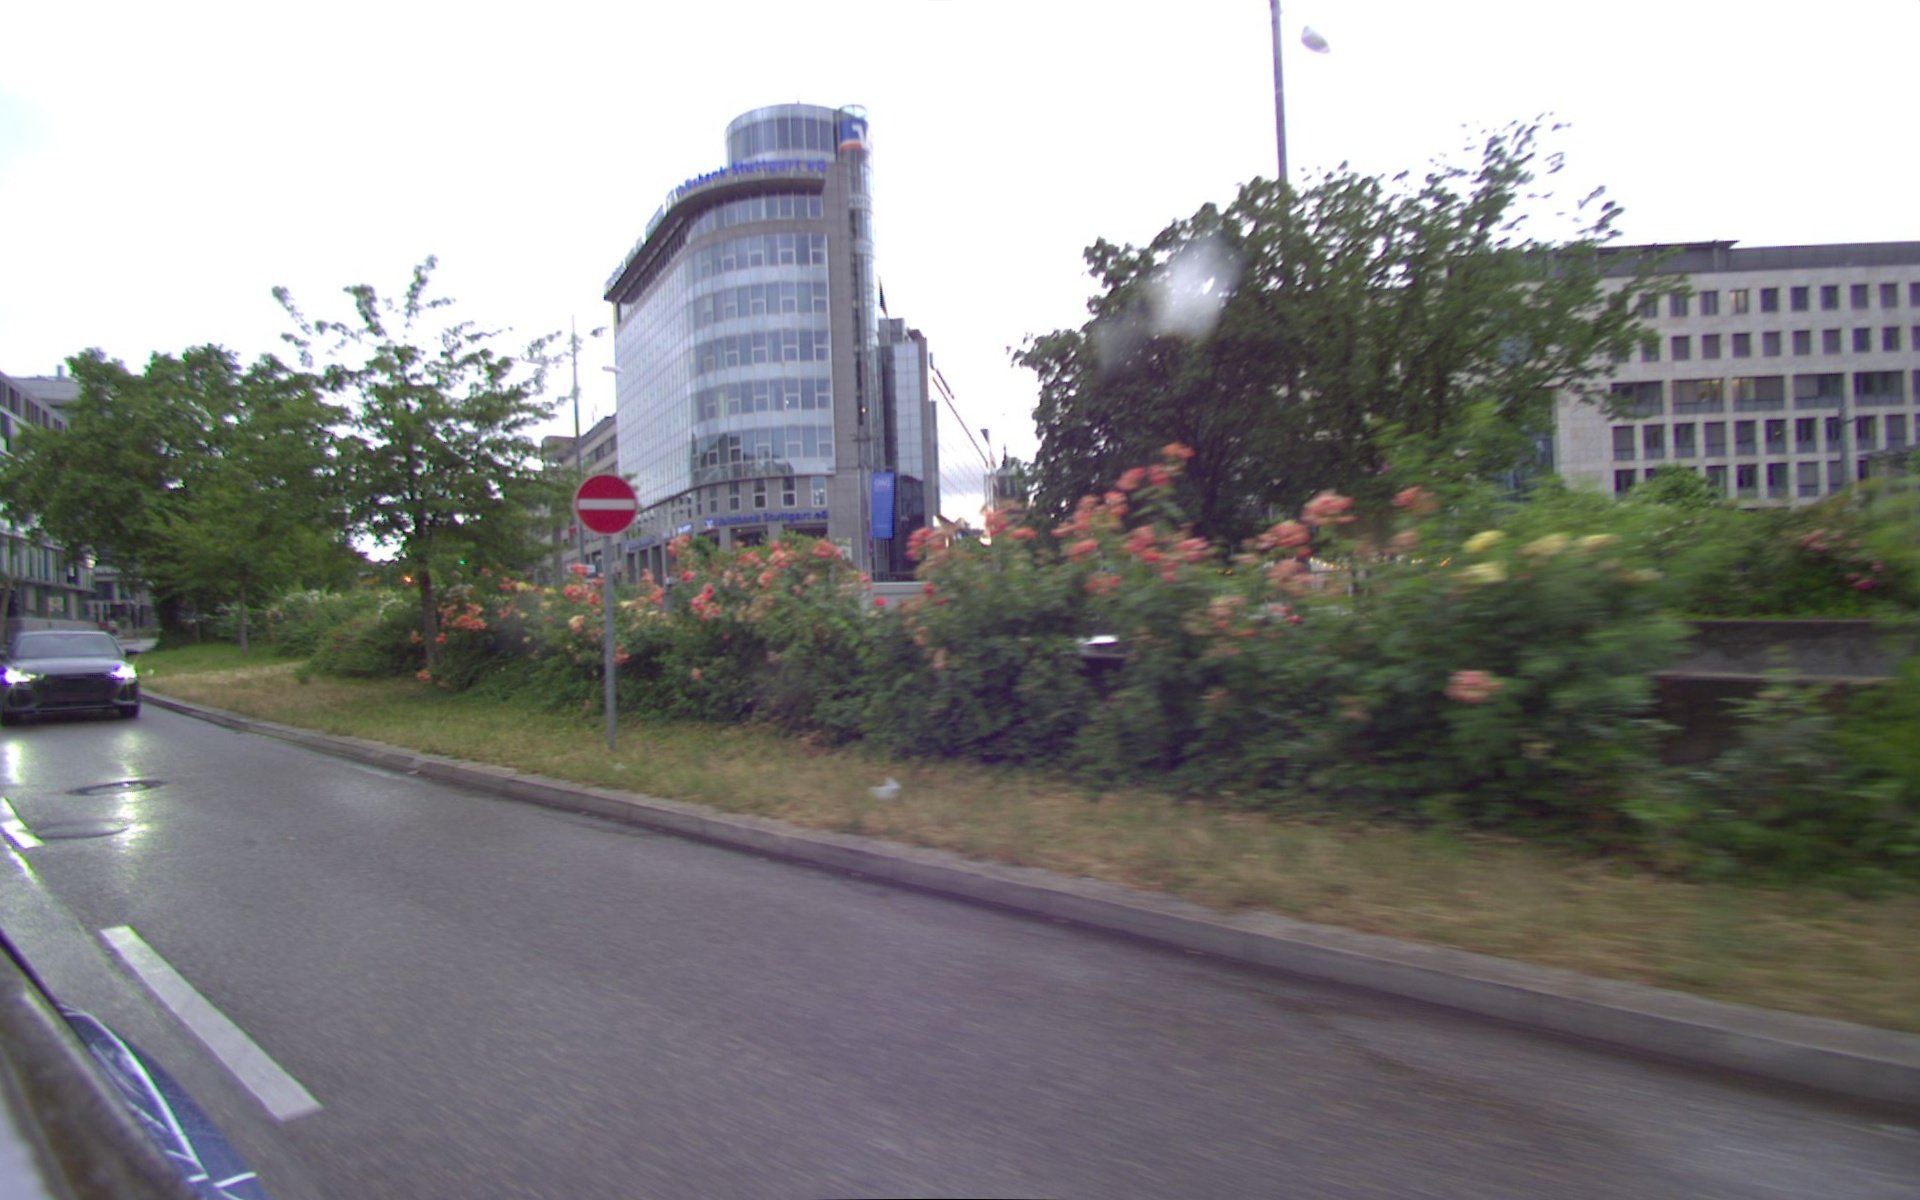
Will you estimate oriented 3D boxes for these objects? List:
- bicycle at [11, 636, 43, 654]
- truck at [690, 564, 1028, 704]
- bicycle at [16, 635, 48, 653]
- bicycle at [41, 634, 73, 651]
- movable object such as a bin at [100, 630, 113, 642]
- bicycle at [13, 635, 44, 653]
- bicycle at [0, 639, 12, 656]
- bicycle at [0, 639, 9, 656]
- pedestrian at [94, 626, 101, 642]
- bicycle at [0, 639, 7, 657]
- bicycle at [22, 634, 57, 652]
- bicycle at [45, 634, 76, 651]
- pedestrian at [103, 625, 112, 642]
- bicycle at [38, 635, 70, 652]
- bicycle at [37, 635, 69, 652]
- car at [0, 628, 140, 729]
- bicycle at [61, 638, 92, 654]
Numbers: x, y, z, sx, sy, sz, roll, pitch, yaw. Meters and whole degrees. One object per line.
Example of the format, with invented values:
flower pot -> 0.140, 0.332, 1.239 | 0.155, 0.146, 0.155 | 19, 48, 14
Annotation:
bicycle -> -64.285, 3.080, 69.715 | 1.514, 1.149, 0.664 | -2, 1, -35
truck -> -2.637, 0.674, 22.719 | 3.325, 2.529, 8.490 | -2, 0, -40
bicycle -> -64.606, 3.079, 70.444 | 1.514, 1.149, 0.691 | -2, 1, -35
bicycle -> -67.795, 3.219, 76.017 | 1.707, 1.192, 0.691 | -1, -1, -35
movable object such as a bin -> -95.779, 4.049, 113.595 | 0.791, 1.275, 1.793 | 0, -1, -31
bicycle -> -65.285, 3.084, 70.923 | 1.514, 1.149, 0.691 | -2, 1, -35
bicycle -> -61.695, 3.070, 64.451 | 1.770, 1.076, 0.558 | -4, 2, -34
bicycle -> -61.305, 3.063, 63.870 | 1.770, 1.076, 0.558 | -4, 2, -34
pedestrian -> -97.369, 3.838, 114.246 | 0.477, 1.712, 0.581 | 0, -1, -31
bicycle -> -60.912, 3.077, 63.320 | 1.770, 1.076, 0.558 | -4, 2, -34
bicycle -> -65.326, 3.071, 71.833 | 1.683, 1.149, 0.691 | -2, 1, -35
bicycle -> -68.298, 3.232, 76.856 | 1.707, 1.192, 0.691 | -1, -1, -35
pedestrian -> -96.582, 3.782, 114.633 | 0.711, 1.844, 0.749 | 0, -1, -31
bicycle -> -67.363, 3.220, 75.269 | 1.707, 1.149, 0.691 | -1, -1, -35
bicycle -> -66.815, 3.198, 74.550 | 1.707, 1.149, 0.691 | -1, -1, -35
car -> -16.209, 1.316, 18.160 | 4.347, 1.529, 1.840 | -2, 0, 45
bicycle -> -68.857, 3.569, 78.896 | 1.707, 1.192, 0.691 | -1, -1, -35
